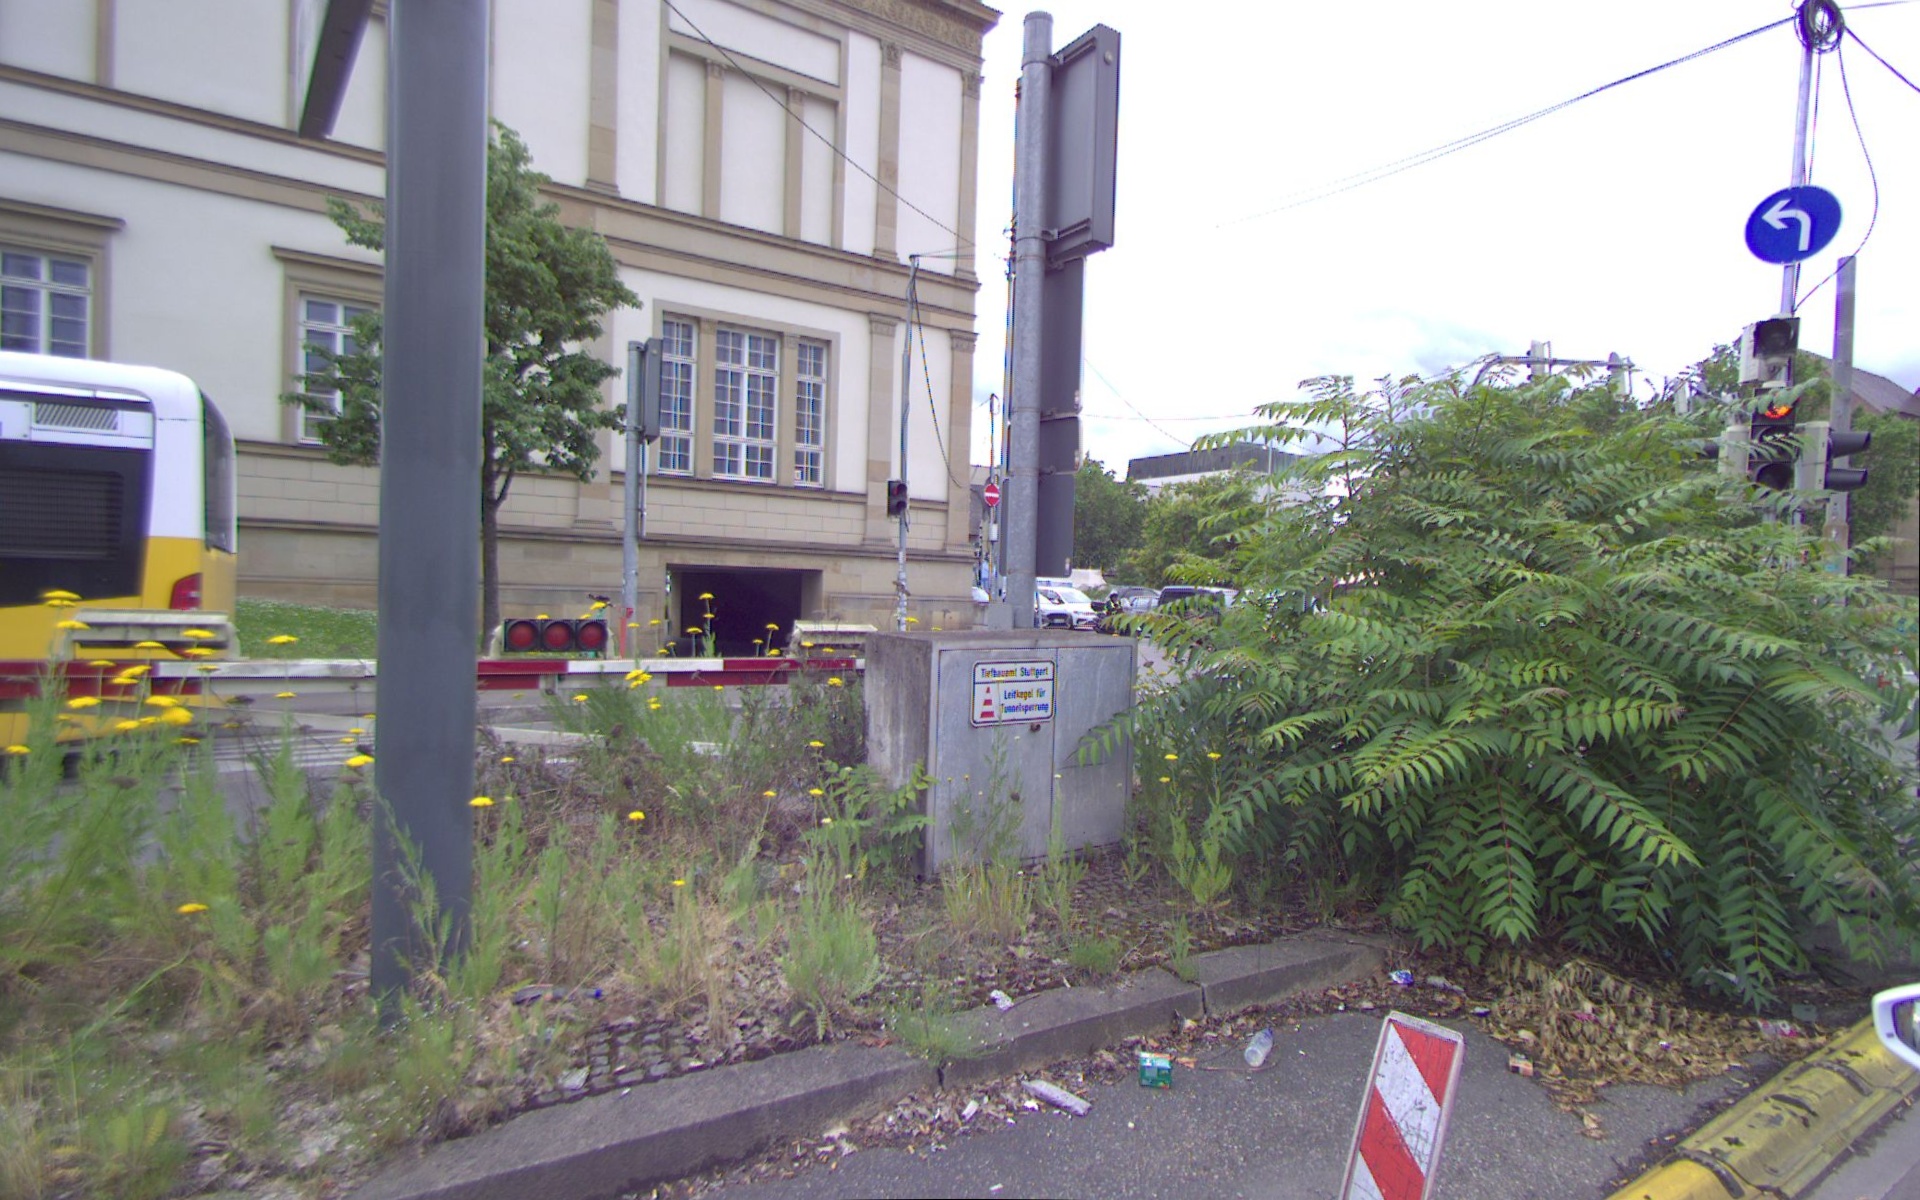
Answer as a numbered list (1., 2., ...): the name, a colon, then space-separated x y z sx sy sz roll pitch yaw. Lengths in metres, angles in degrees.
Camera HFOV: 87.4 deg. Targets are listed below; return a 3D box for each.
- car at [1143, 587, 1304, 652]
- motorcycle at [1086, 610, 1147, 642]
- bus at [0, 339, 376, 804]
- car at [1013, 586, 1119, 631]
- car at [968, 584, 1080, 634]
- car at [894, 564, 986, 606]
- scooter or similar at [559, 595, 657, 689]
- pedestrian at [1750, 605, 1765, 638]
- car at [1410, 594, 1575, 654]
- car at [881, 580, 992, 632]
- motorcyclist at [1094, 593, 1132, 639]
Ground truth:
1. car: 7.572 0.516 29.247 1.979 1.698 4.285 1 1 -34
2. motorcycle: 5.076 0.827 32.654 0.749 0.937 2.042 1 1 -35
3. bus: -9.250 -0.260 6.865 9.015 3.156 2.832 1 1 -30
4. car: 4.262 0.323 40.943 1.979 1.698 4.285 1 1 -34
5. car: 2.316 0.319 37.404 1.979 1.698 4.285 1 1 -34
6. car: -0.938 -0.677 43.685 1.979 1.698 4.285 1 1 -34
7. scooter or similar: -4.937 0.587 14.135 1.132 1.190 0.540 6 0 -10
8. pedestrian: 49.816 1.364 62.745 0.516 2.040 0.428 2 1 17
9. car: 17.133 0.732 32.451 1.986 1.698 4.271 1 1 -43
10. car: -0.905 0.171 35.921 1.979 1.698 4.285 1 1 -34
11. motorcyclist: 4.997 0.517 32.767 0.738 1.442 0.959 1 1 -35
